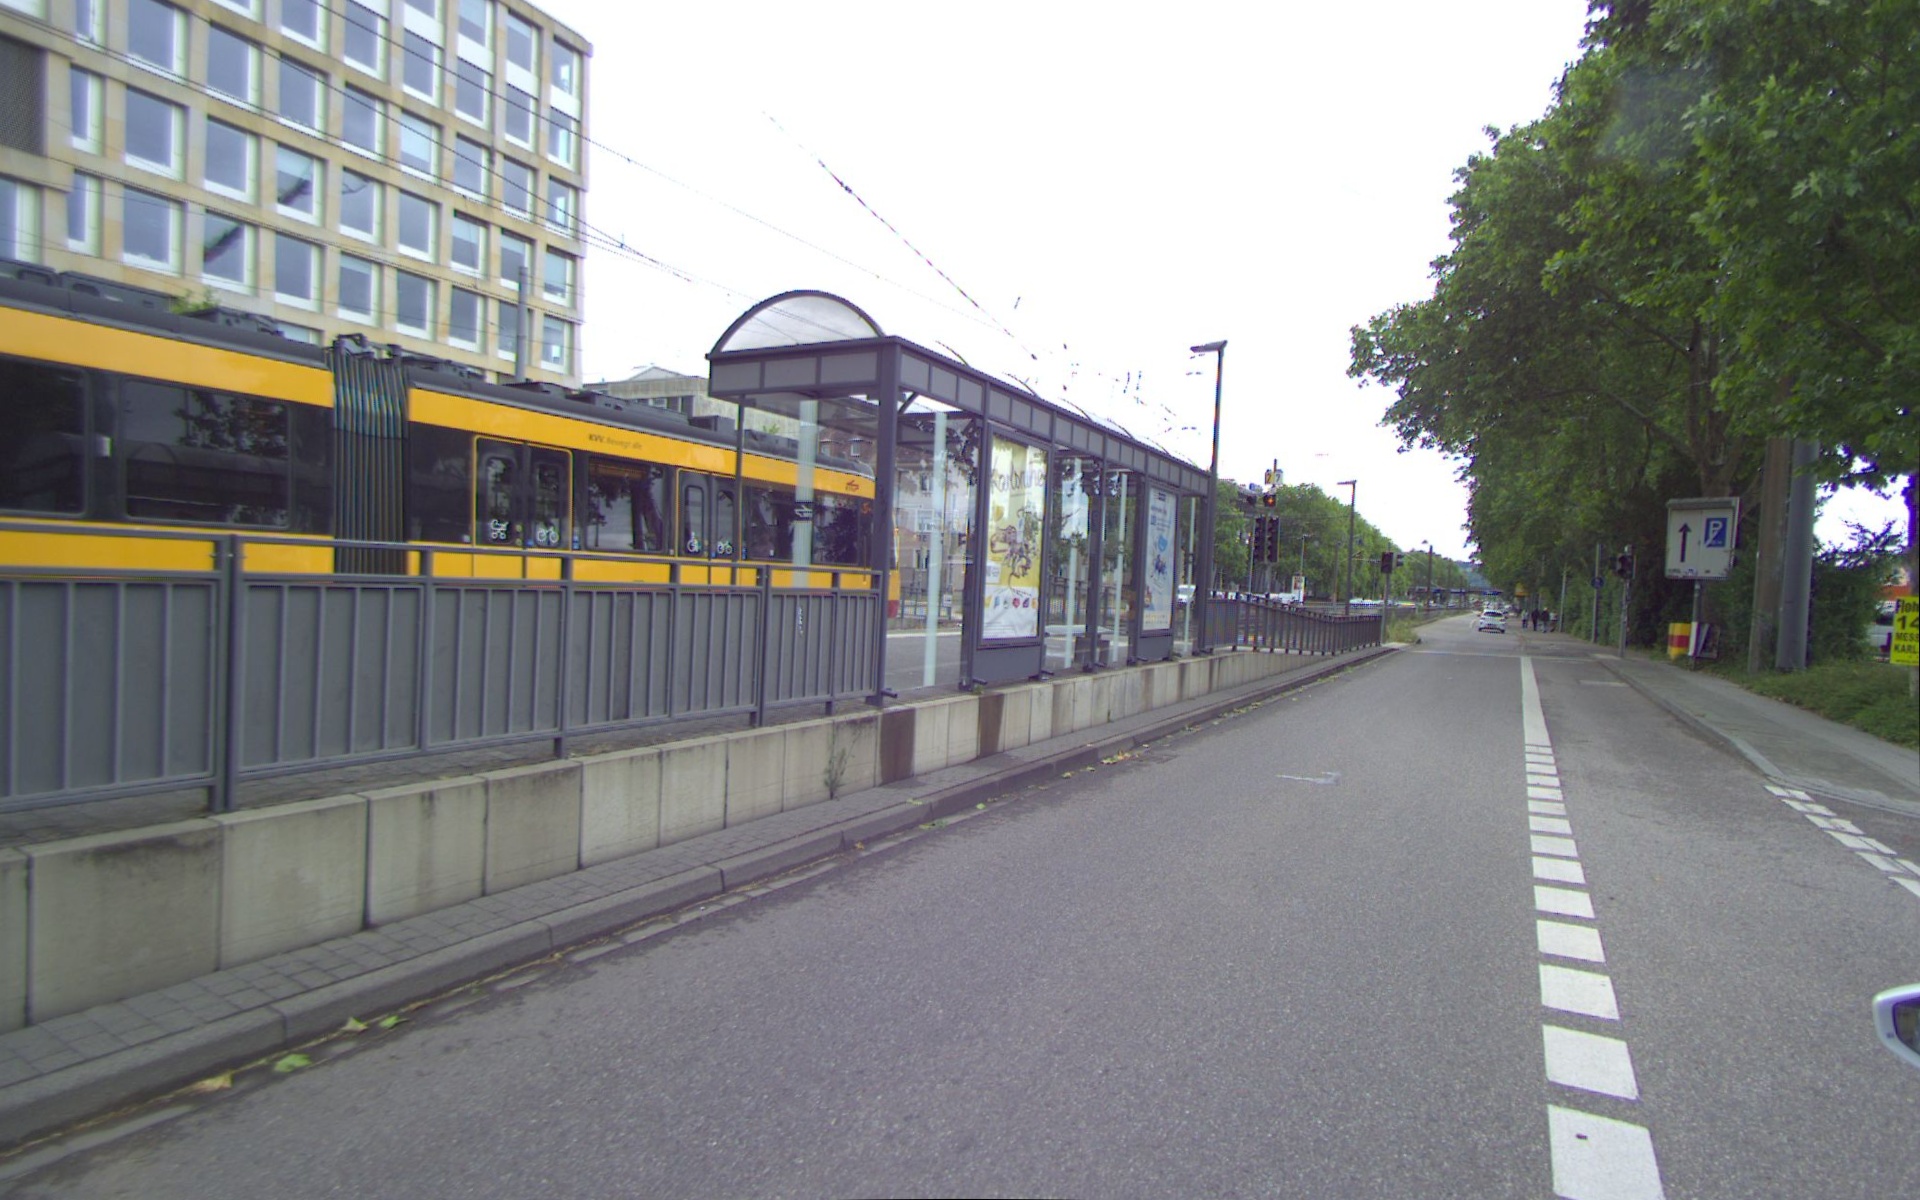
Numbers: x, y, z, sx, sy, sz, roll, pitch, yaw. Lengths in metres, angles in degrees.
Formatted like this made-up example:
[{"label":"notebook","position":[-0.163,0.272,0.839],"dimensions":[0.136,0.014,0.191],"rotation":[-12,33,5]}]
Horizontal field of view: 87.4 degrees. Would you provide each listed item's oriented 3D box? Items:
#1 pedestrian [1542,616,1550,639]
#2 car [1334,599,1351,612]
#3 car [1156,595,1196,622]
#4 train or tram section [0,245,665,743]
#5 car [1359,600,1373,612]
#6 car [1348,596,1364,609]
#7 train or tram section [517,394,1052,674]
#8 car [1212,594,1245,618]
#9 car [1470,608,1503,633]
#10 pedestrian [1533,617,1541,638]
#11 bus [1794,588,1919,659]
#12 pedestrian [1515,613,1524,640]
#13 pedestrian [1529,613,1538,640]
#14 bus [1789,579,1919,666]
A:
[{"label":"pedestrian","position":[41.815,1.978,71.676],"dimensions":[0.390,1.606,0.537],"rotation":[3,1,30]},{"label":"car","position":[56.149,0.828,147.334],"dimensions":[1.962,1.818,3.997],"rotation":[3,1,25]},{"label":"car","position":[15.889,0.635,73.661],"dimensions":[1.962,1.818,3.997],"rotation":[3,1,25]},{"label":"train or tram section","position":[-9.442,-0.958,9.509],"dimensions":[3.133,4.234,14.710],"rotation":[3,1,29]},{"label":"car","position":[67.487,1.002,166.925],"dimensions":[1.962,1.818,3.997],"rotation":[3,1,25]},{"label":"car","position":[59.580,0.411,151.153],"dimensions":[1.962,1.818,3.997],"rotation":[3,1,25]},{"label":"train or tram section","position":[-2.410,-0.953,22.434],"dimensions":[3.133,4.234,14.710],"rotation":[3,1,29]},{"label":"car","position":[22.643,0.521,84.606],"dimensions":[1.962,1.818,3.997],"rotation":[3,1,25]},{"label":"car","position":[36.443,1.385,69.471],"dimensions":[1.814,1.573,3.992],"rotation":[3,1,30]},{"label":"pedestrian","position":[41.285,1.950,71.872],"dimensions":[0.390,1.464,0.561],"rotation":[3,1,34]},{"label":"bus","position":[34.420,0.954,34.060],"dimensions":[9.135,2.257,1.998],"rotation":[3,1,27]},{"label":"pedestrian","position":[42.520,1.997,76.315],"dimensions":[0.391,2.040,0.400],"rotation":[3,1,44]},{"label":"pedestrian","position":[43.209,2.013,75.721],"dimensions":[0.391,2.040,0.400],"rotation":[3,1,44]},{"label":"bus","position":[36.308,0.957,36.530],"dimensions":[9.135,2.999,1.998],"rotation":[3,1,27]}]
